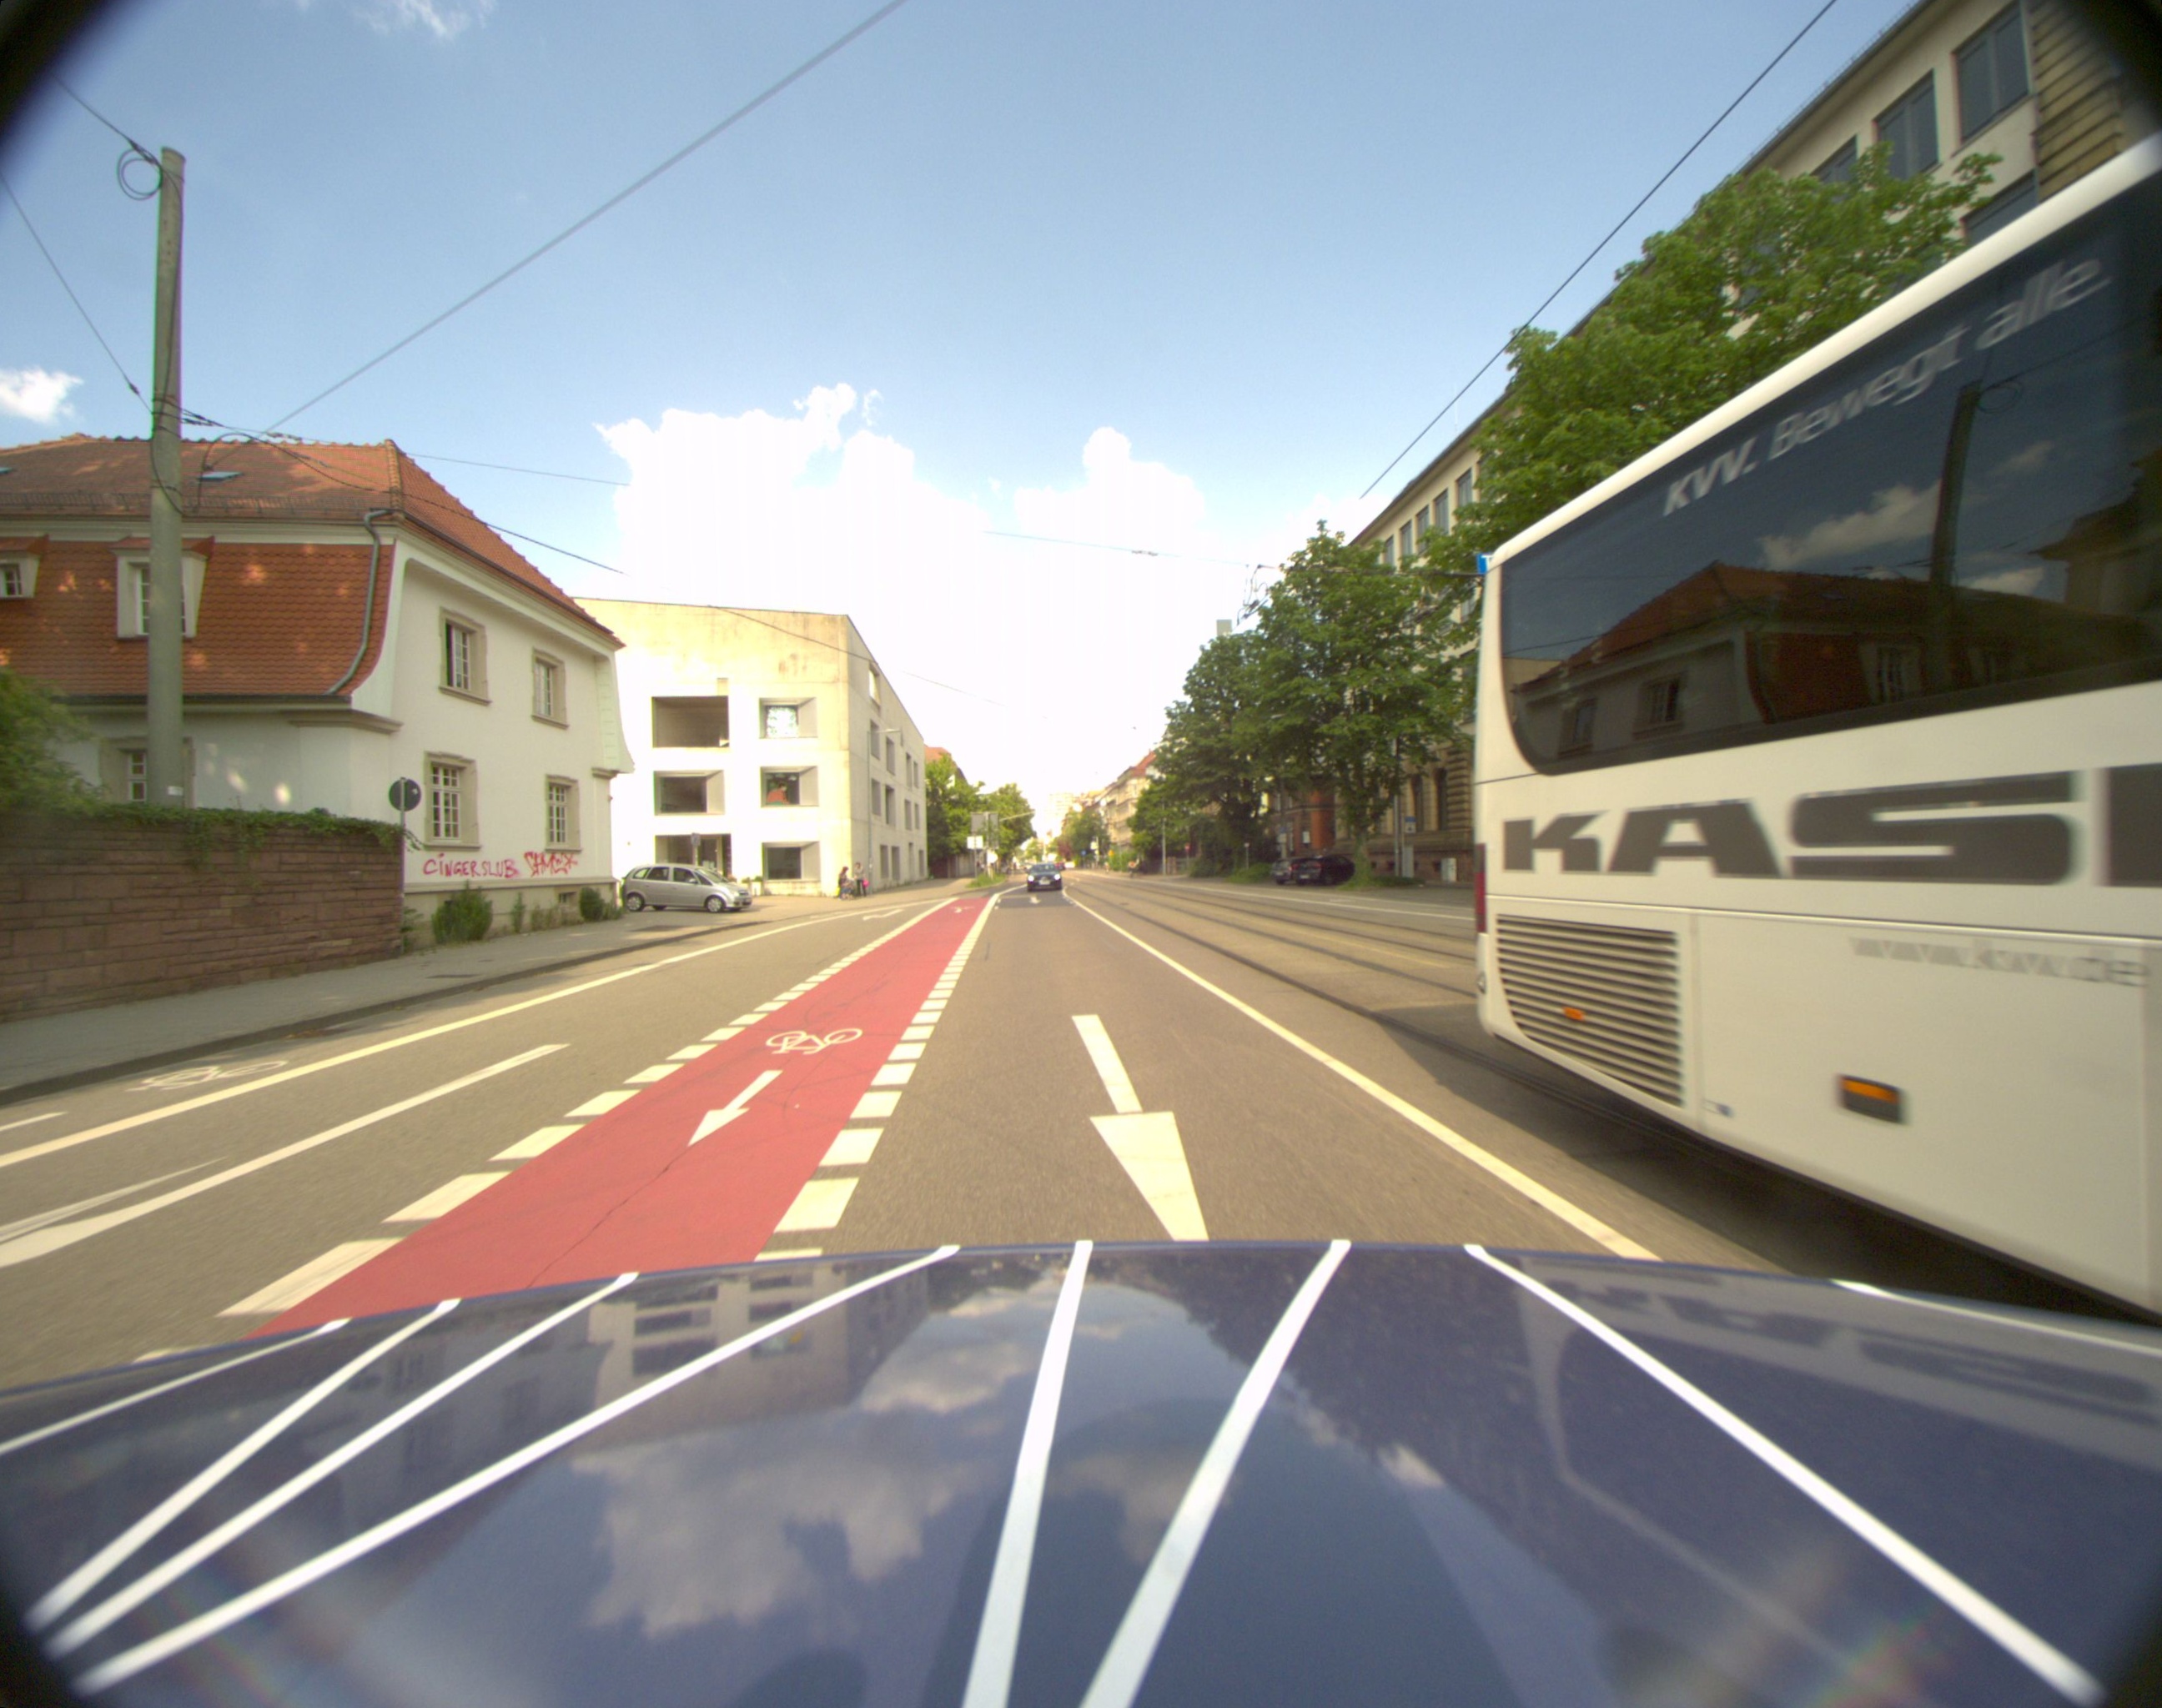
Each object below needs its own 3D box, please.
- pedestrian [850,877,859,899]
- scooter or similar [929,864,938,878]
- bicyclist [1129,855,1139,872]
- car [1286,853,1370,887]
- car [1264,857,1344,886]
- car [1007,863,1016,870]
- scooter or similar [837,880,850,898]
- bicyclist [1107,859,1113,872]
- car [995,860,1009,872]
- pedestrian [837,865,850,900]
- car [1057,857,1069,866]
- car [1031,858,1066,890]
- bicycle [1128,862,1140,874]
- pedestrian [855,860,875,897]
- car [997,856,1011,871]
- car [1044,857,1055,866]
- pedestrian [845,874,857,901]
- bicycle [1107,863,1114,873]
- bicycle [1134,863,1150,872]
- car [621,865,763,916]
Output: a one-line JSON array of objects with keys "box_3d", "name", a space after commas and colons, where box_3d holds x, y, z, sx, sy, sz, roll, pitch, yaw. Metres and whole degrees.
[{"box_3d": [-10.489, 1.585, 35.226, 0.344, 1.004, 0.396, 1, -1, -14], "name": "pedestrian"}, {"box_3d": [-12.636, 1.425, 65.094, 0.323, 1.174, 1.149, -1, 0, 8], "name": "scooter or similar"}, {"box_3d": [4.721, 0.872, 68.048, 0.693, 1.510, 0.867, 0, 0, -8], "name": "bicyclist"}, {"box_3d": [12.627, 0.805, 38.786, 4.249, 1.541, 1.922, -2, 0, -36], "name": "car"}, {"box_3d": [12.221, 0.919, 41.529, 4.248, 1.438, 1.789, -1, 0, -32], "name": "car"}, {"box_3d": [-13.976, 2.454, 152.827, 1.590, 1.436, 3.896, -1, 0, -5], "name": "car"}, {"box_3d": [-11.145, 1.647, 35.650, 0.551, 0.795, 0.267, 3, -2, -28], "name": "scooter or similar"}, {"box_3d": [3.519, 1.376, 91.635, 0.601, 1.483, 0.882, 4, -1, -2], "name": "bicyclist"}, {"box_3d": [-10.061, 1.510, 96.738, 1.712, 1.489, 4.787, -1, 0, -5], "name": "car"}, {"box_3d": [-10.784, 1.282, 34.540, 0.521, 1.570, 0.548, 1, -1, -15], "name": "pedestrian"}, {"box_3d": [-3.105, 1.302, 131.973, 1.693, 1.393, 3.929, 1, 0, -5], "name": "car"}, {"box_3d": [-1.782, 1.046, 40.494, 1.694, 1.567, 4.155, -1, 0, -5], "name": "car"}, {"box_3d": [4.729, 1.234, 68.025, 0.701, 1.011, 1.818, 0, -1, -8], "name": "bicycle"}, {"box_3d": [-10.337, 1.167, 36.390, 0.686, 1.714, 0.747, 0, -1, 7], "name": "pedestrian"}, {"box_3d": [-10.589, 1.296, 104.731, 1.901, 1.929, 4.948, -1, 0, -5], "name": "car"}, {"box_3d": [-6.770, 1.647, 163.042, 1.903, 1.896, 5.381, -1, 0, -6], "name": "car"}, {"box_3d": [-10.384, 1.500, 34.314, 0.423, 1.193, 0.405, 1, -1, -26], "name": "pedestrian"}, {"box_3d": [3.493, 1.711, 91.619, 0.604, 1.090, 2.022, 4, -1, -2], "name": "bicycle"}, {"box_3d": [6.585, 1.451, 82.028, 1.146, 0.903, 2.987, -4, 0, -5], "name": "bicycle"}, {"box_3d": [-13.019, 1.205, 25.582, 3.890, 1.595, 1.665, -1, -2, -1], "name": "car"}]
